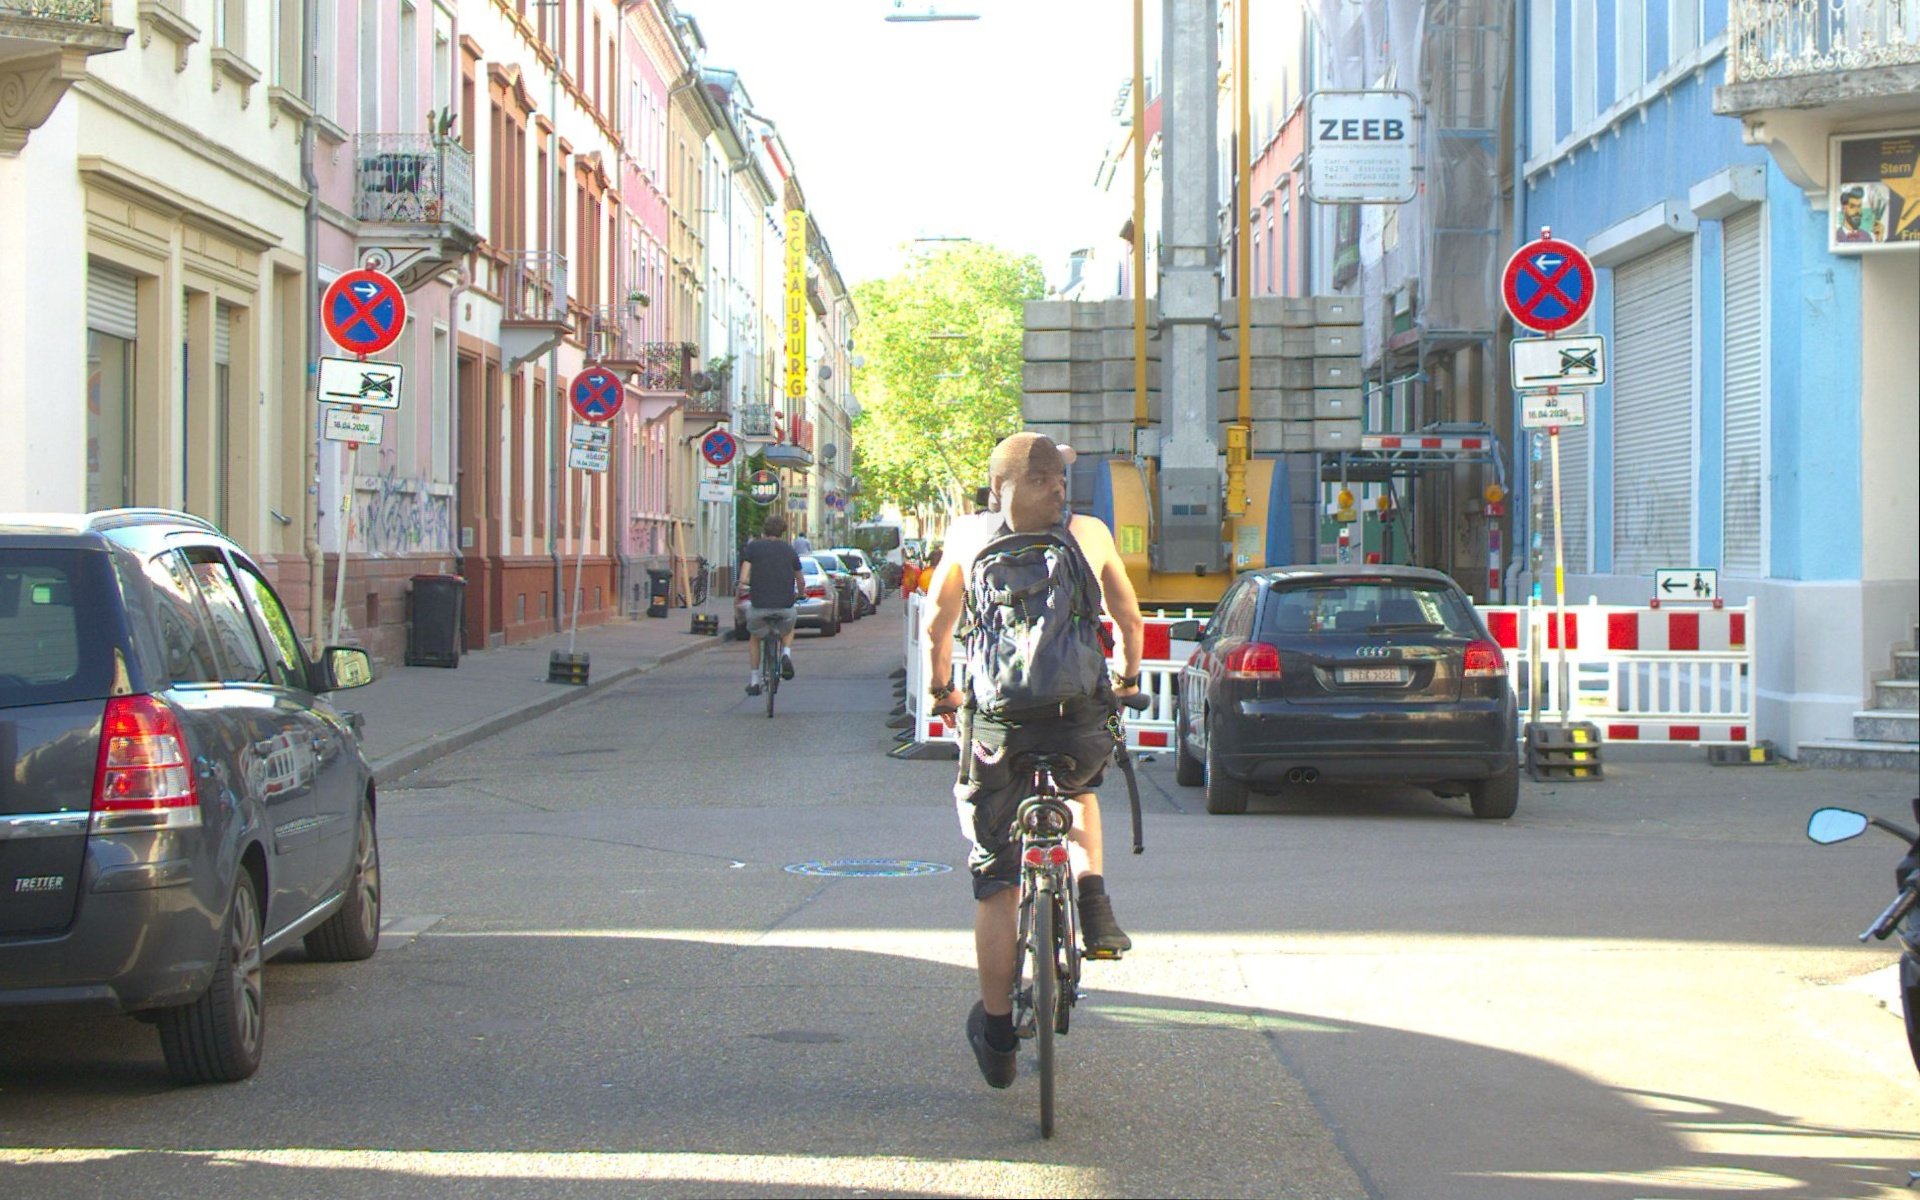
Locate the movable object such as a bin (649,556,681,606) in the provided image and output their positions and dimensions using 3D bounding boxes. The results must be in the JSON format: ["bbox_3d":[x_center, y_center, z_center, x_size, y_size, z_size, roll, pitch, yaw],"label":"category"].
[{"bbox_3d":[-5.661,-0.362,65.966,0.543,0.941,0.487,1,0,1],"label":"movable object such as a bin"}]

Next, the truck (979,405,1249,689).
[{"bbox_3d":[1.573,-0.570,38.421,2.661,2.804,7.393,1,1,0],"label":"truck"}]

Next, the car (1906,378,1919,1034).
[{"bbox_3d":[2.394,0.563,3.215,1.748,1.810,4.370,-1,1,0],"label":"car"}]

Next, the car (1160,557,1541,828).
[{"bbox_3d":[2.241,0.479,20.713,1.771,1.429,4.034,1,1,-1],"label":"car"}]

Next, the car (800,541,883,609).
[{"bbox_3d":[-2.646,-0.561,77.416,1.672,1.437,4.165,-2,1,0],"label":"car"}]

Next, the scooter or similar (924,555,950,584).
[{"bbox_3d":[-0.712,-0.947,105.926,0.770,0.870,0.771,1,0,0],"label":"scooter or similar"}]

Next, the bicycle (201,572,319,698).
[{"bbox_3d":[-6.048,0.289,29.772,0.622,1.019,1.818,1,1,0],"label":"bicycle"}]

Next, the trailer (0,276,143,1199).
[{"bbox_3d":[-2.815,0.363,6.461,1.661,2.054,4.364,-1,1,-3],"label":"trailer"}]

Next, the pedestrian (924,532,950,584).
[{"bbox_3d":[-0.716,-1.301,106.394,0.770,1.573,0.900,1,0,0],"label":"pedestrian"}]

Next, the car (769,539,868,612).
[{"bbox_3d":[-2.883,-0.531,70.917,1.710,1.378,4.356,0,2,2],"label":"car"}]

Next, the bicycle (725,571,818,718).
[{"bbox_3d":[-1.678,0.374,30.841,0.702,1.203,2.342,-1,2,0],"label":"bicycle"}]

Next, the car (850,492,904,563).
[{"bbox_3d":[-3.028,-2.626,124.739,1.909,2.488,4.166,-1,1,-2],"label":"car"}]

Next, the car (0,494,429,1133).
[{"bbox_3d":[-2.798,0.501,10.742,1.722,1.600,4.167,-1,1,-2],"label":"car"}]

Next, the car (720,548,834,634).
[{"bbox_3d":[-3.136,-0.166,59.686,1.710,1.378,4.506,-2,1,0],"label":"car"}]

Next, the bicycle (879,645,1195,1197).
[{"bbox_3d":[0.179,0.758,9.112,0.702,1.204,2.342,1,1,0],"label":"bicycle"}]

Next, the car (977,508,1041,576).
[{"bbox_3d":[1.907,-2.258,135.743,2.307,2.529,6.770,-2,1,0],"label":"car"}]

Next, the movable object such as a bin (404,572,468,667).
[{"bbox_3d":[-5.843,0.215,38.352,0.605,1.032,0.596,1,0,-1],"label":"movable object such as a bin"}]

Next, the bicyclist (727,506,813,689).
[{"bbox_3d":[-1.697,-0.030,30.759,0.702,1.599,0.813,-1,2,0],"label":"bicyclist"}]

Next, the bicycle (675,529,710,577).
[{"bbox_3d":[-6.143,-1.075,78.993,0.592,1.085,2.079,1,1,0],"label":"bicycle"}]

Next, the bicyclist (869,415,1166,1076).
[{"bbox_3d":[0.144,0.356,9.089,0.702,1.627,1.090,1,0,0],"label":"bicyclist"}]

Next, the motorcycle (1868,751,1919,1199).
[{"bbox_3d":[2.294,0.912,6.918,0.719,1.082,1.995,3,1,11],"label":"motorcycle"}]
